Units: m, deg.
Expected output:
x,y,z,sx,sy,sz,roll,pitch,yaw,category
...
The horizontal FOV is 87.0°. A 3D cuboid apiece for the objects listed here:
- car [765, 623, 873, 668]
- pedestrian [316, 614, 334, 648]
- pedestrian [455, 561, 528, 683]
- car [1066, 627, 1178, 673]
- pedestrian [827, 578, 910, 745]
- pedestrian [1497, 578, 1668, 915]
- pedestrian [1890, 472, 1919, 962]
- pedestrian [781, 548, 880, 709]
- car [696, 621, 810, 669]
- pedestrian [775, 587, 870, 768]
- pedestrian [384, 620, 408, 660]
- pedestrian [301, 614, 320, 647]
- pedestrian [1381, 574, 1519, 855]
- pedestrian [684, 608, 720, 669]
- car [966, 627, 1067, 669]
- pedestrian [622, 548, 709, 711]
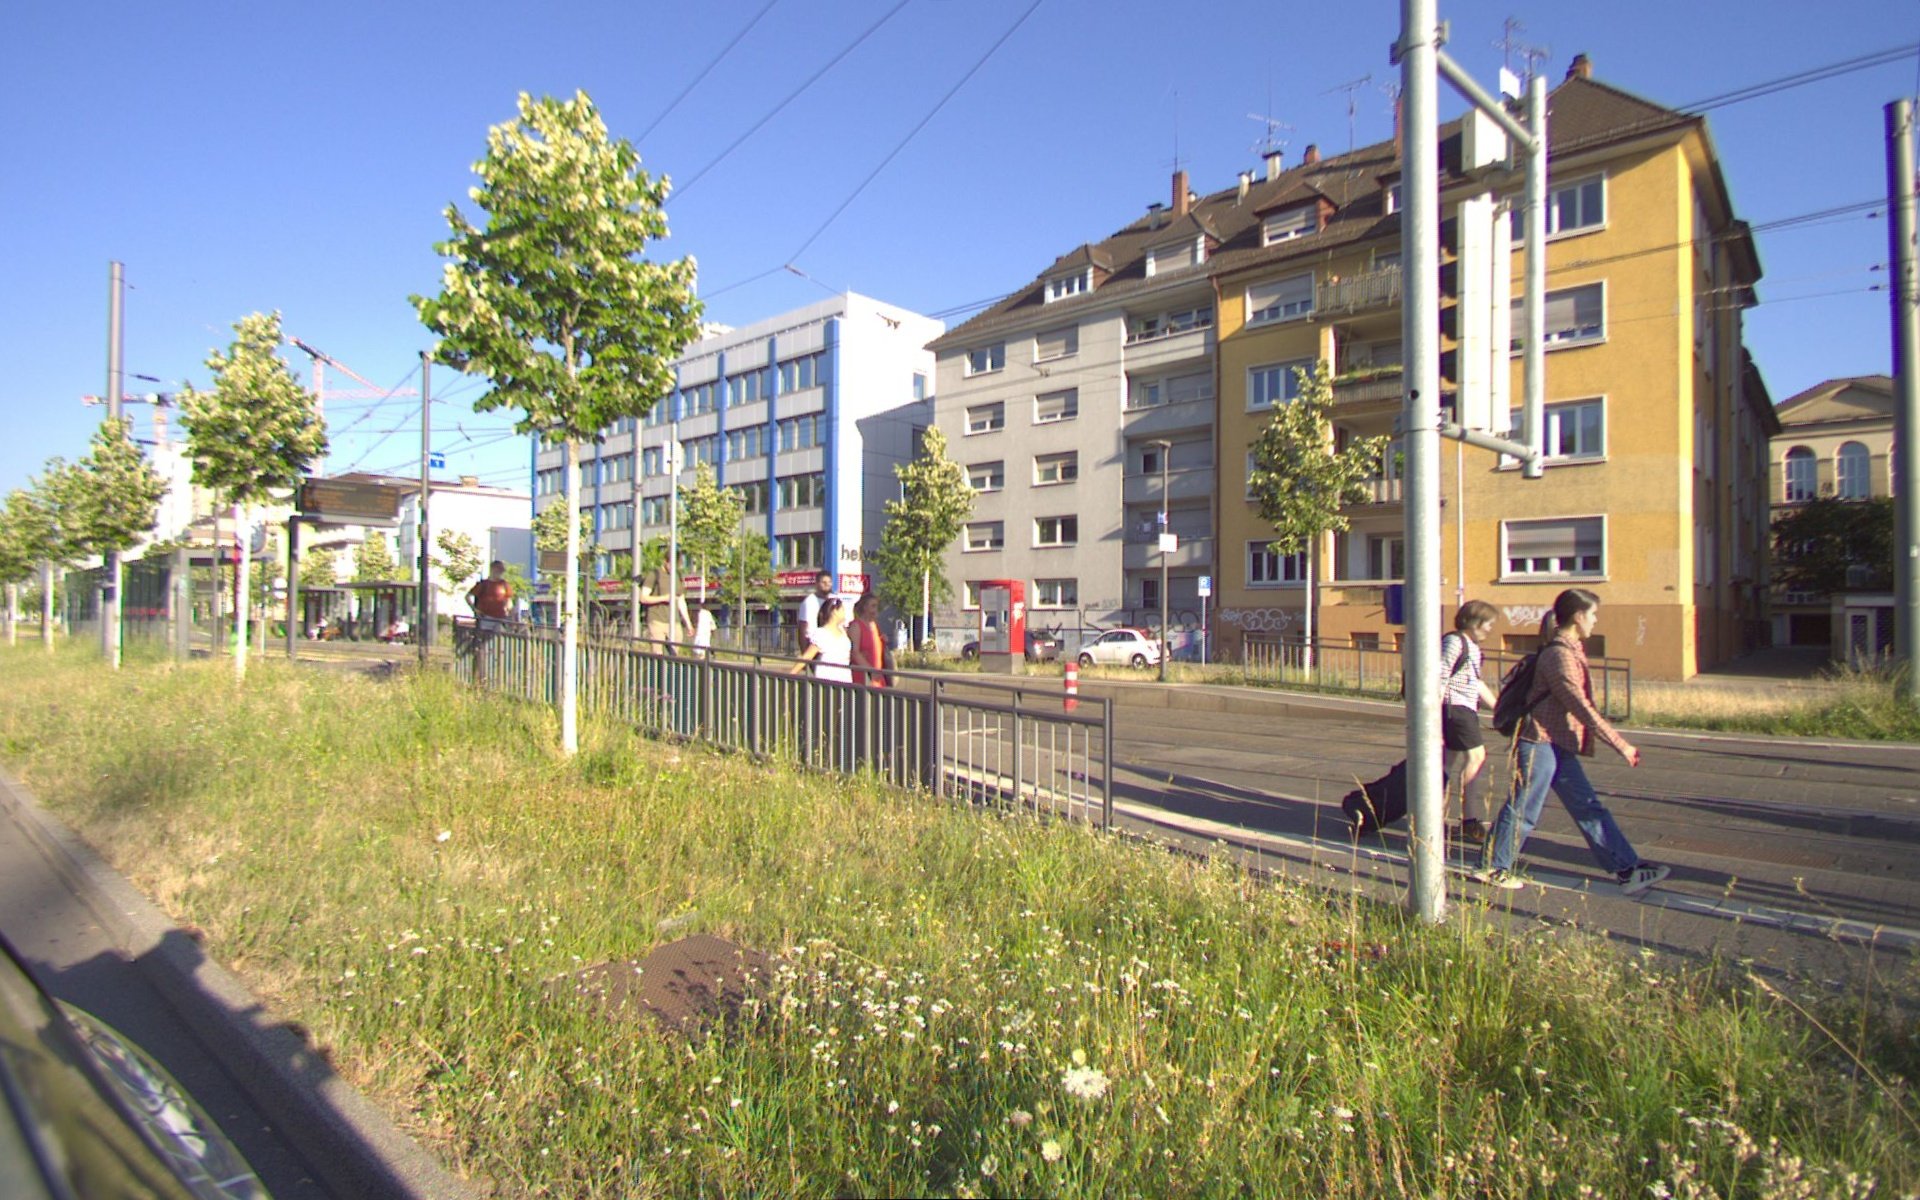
x,y,z,sx,sy,sz,roll,pitch,yaw,category
-5.286,1.638,37.646,3.941,1.519,1.861,-1,0,41,car
-31.895,1.555,50.842,0.650,1.705,0.773,-1,0,-43,pedestrian
-6.808,0.312,14.708,0.620,1.711,0.776,-1,0,44,pedestrian
5.943,1.812,37.362,3.672,1.519,1.861,-1,0,41,car
-0.816,0.536,9.145,0.521,1.442,0.634,-1,0,20,pedestrian
3.179,0.672,5.155,0.619,1.547,0.777,-1,0,40,pedestrian
4.119,0.445,3.758,0.900,1.814,0.777,3,2,42,pedestrian
-1.316,0.277,10.323,0.620,1.560,0.776,-1,0,44,pedestrian
-7.216,1.519,35.141,3.941,1.519,1.861,-1,0,41,car
-1.157,0.627,8.570,0.522,1.467,0.633,-1,0,26,pedestrian
-24.571,1.737,44.103,0.771,1.705,0.651,-1,0,39,pedestrian
-33.606,1.577,52.386,0.772,1.705,0.651,-1,0,44,pedestrian
3.142,0.679,6.473,0.619,1.653,0.778,-1,-1,39,pedestrian
-7.356,1.083,28.873,0.620,1.685,0.776,-1,0,44,pedestrian
2.218,1.861,40.486,3.672,1.519,1.861,-1,0,41,car
-3.524,0.339,12.116,0.620,1.878,0.776,-1,0,44,pedestrian
